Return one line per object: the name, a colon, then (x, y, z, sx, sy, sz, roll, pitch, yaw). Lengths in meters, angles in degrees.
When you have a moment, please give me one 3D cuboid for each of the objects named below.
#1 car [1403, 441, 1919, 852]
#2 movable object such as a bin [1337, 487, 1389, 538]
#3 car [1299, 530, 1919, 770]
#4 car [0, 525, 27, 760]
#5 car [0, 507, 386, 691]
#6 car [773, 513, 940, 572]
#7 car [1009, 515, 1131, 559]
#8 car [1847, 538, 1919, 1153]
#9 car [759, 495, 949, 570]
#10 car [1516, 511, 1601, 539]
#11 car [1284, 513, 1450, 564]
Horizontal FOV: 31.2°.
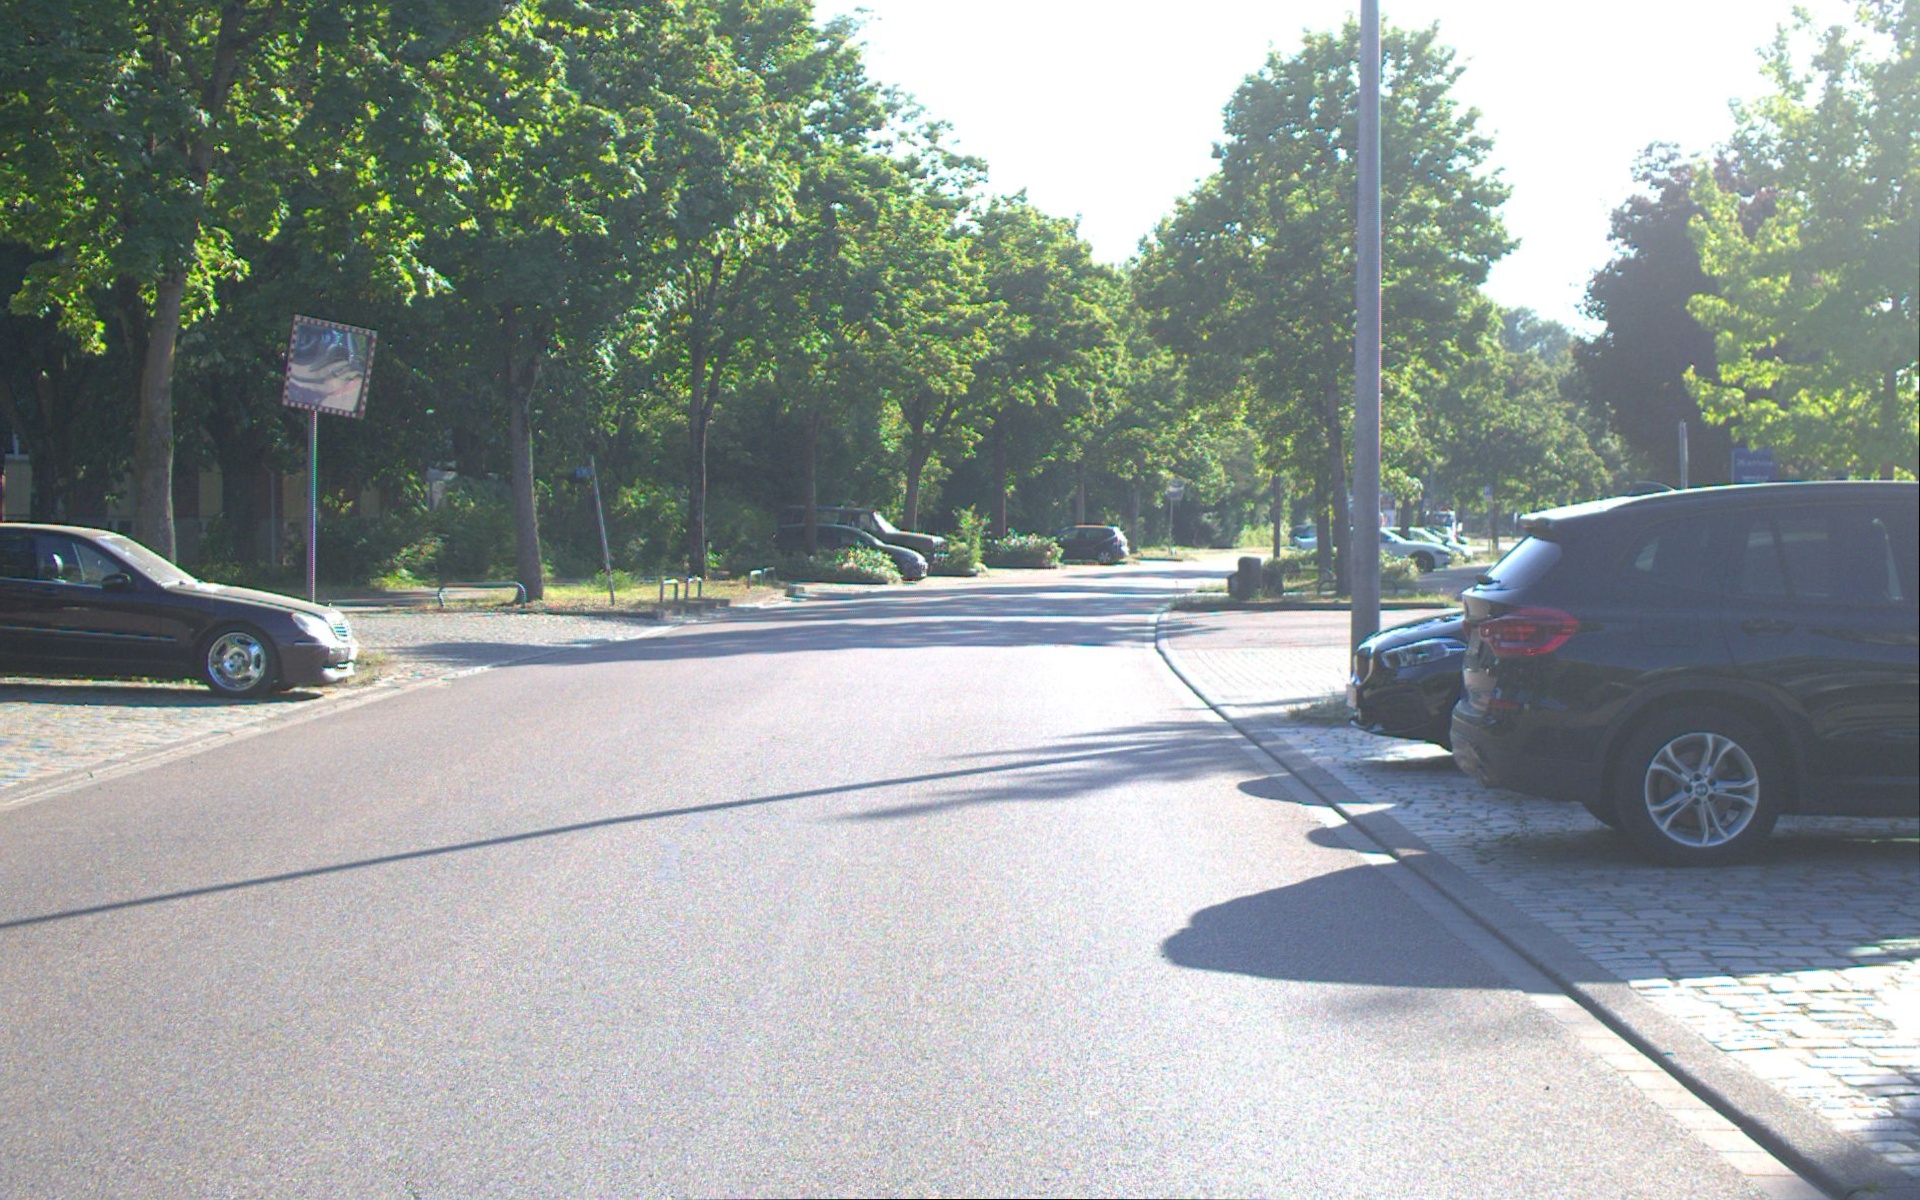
car: (4.454, 0.175, 15.700, 4.695, 1.745, 2.191, 0, 2, 4)
movable object such as a bin: (25.279, -5.484, 215.523, 2.839, 3.058, 4.925, 3, 2, 10)
car: (4.468, 0.281, 21.506, 4.481, 1.399, 2.034, 0, 2, 0)
car: (-8.189, 0.201, 20.845, 4.479, 1.457, 2.000, 2, 1, 0)
car: (-7.798, -0.063, 30.507, 5.035, 1.457, 2.000, 2, 1, 0)
car: (-2.748, -1.535, 91.684, 4.213, 1.525, 1.705, 1, 1, 7)
car: (4.242, -2.424, 131.974, 4.361, 1.474, 1.999, 3, 2, 11)
car: (4.651, 0.557, 7.871, 4.694, 1.474, 2.000, -1, 1, 0)
car: (-2.931, -1.883, 95.712, 5.006, 2.013, 2.174, 1, 1, 7)
car: (36.465, -4.572, 209.468, 4.845, 1.474, 1.999, 3, 2, 15)
car: (12.970, -1.958, 109.359, 5.177, 1.568, 2.157, 1, 1, 9)
